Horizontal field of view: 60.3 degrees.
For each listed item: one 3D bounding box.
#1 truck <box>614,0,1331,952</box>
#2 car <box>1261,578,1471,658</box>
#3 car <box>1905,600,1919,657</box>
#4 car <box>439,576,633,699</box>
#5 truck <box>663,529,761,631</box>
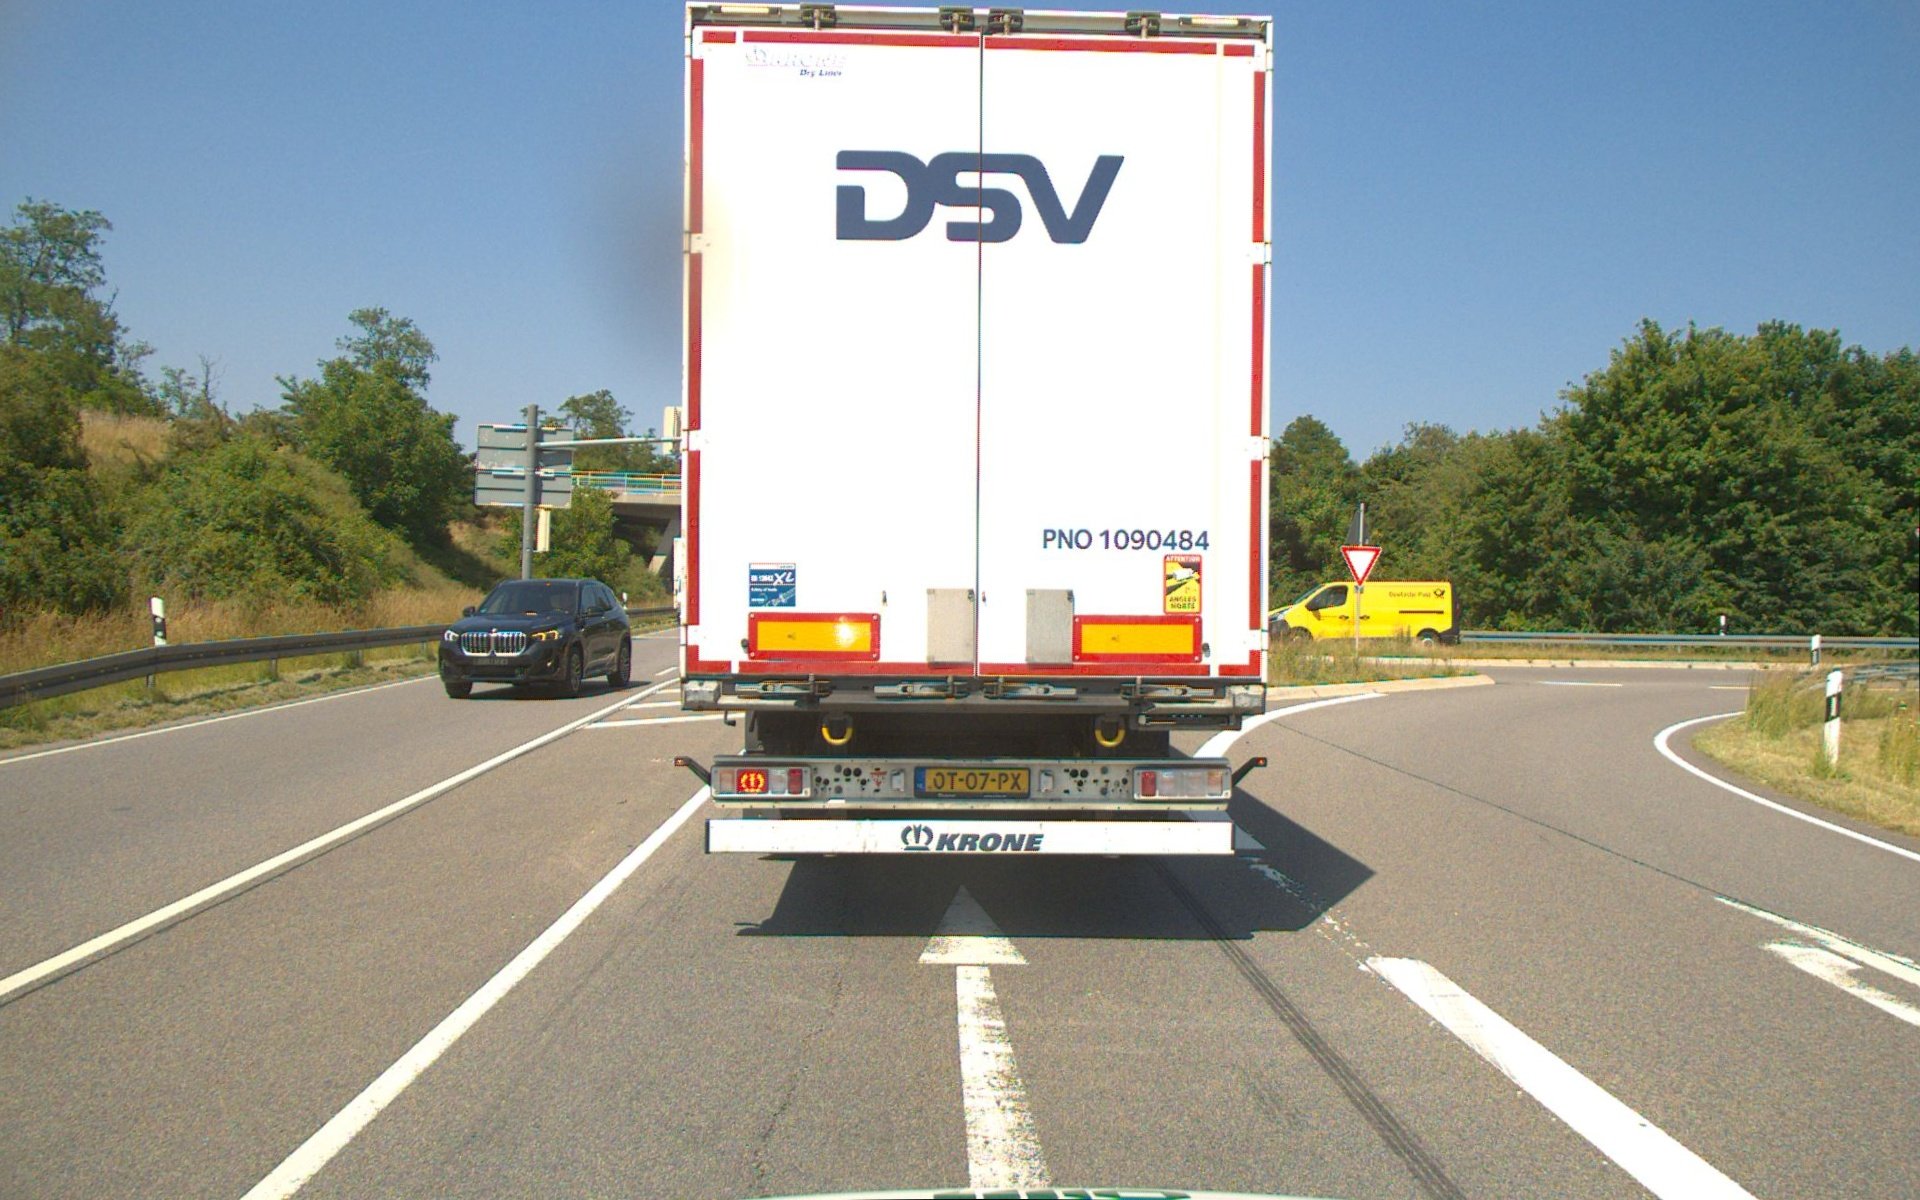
[{"bbox_3d":[-0.054,-0.559,11.780,2.927,4.011,9.872,1,0,-1],"label":"truck"},{"bbox_3d":[10.895,0.483,44.657,5.212,2.049,2.000,1,-1,1],"label":"car"},{"bbox_3d":[28.225,0.784,44.444,4.585,1.540,1.853,1,-1,1],"label":"car"},{"bbox_3d":[-6.067,0.495,24.191,1.726,1.626,4.500,0,0,-1],"label":"car"},{"bbox_3d":[-9.351,-0.692,63.206,2.591,3.600,7.888,1,0,-1],"label":"truck"}]
